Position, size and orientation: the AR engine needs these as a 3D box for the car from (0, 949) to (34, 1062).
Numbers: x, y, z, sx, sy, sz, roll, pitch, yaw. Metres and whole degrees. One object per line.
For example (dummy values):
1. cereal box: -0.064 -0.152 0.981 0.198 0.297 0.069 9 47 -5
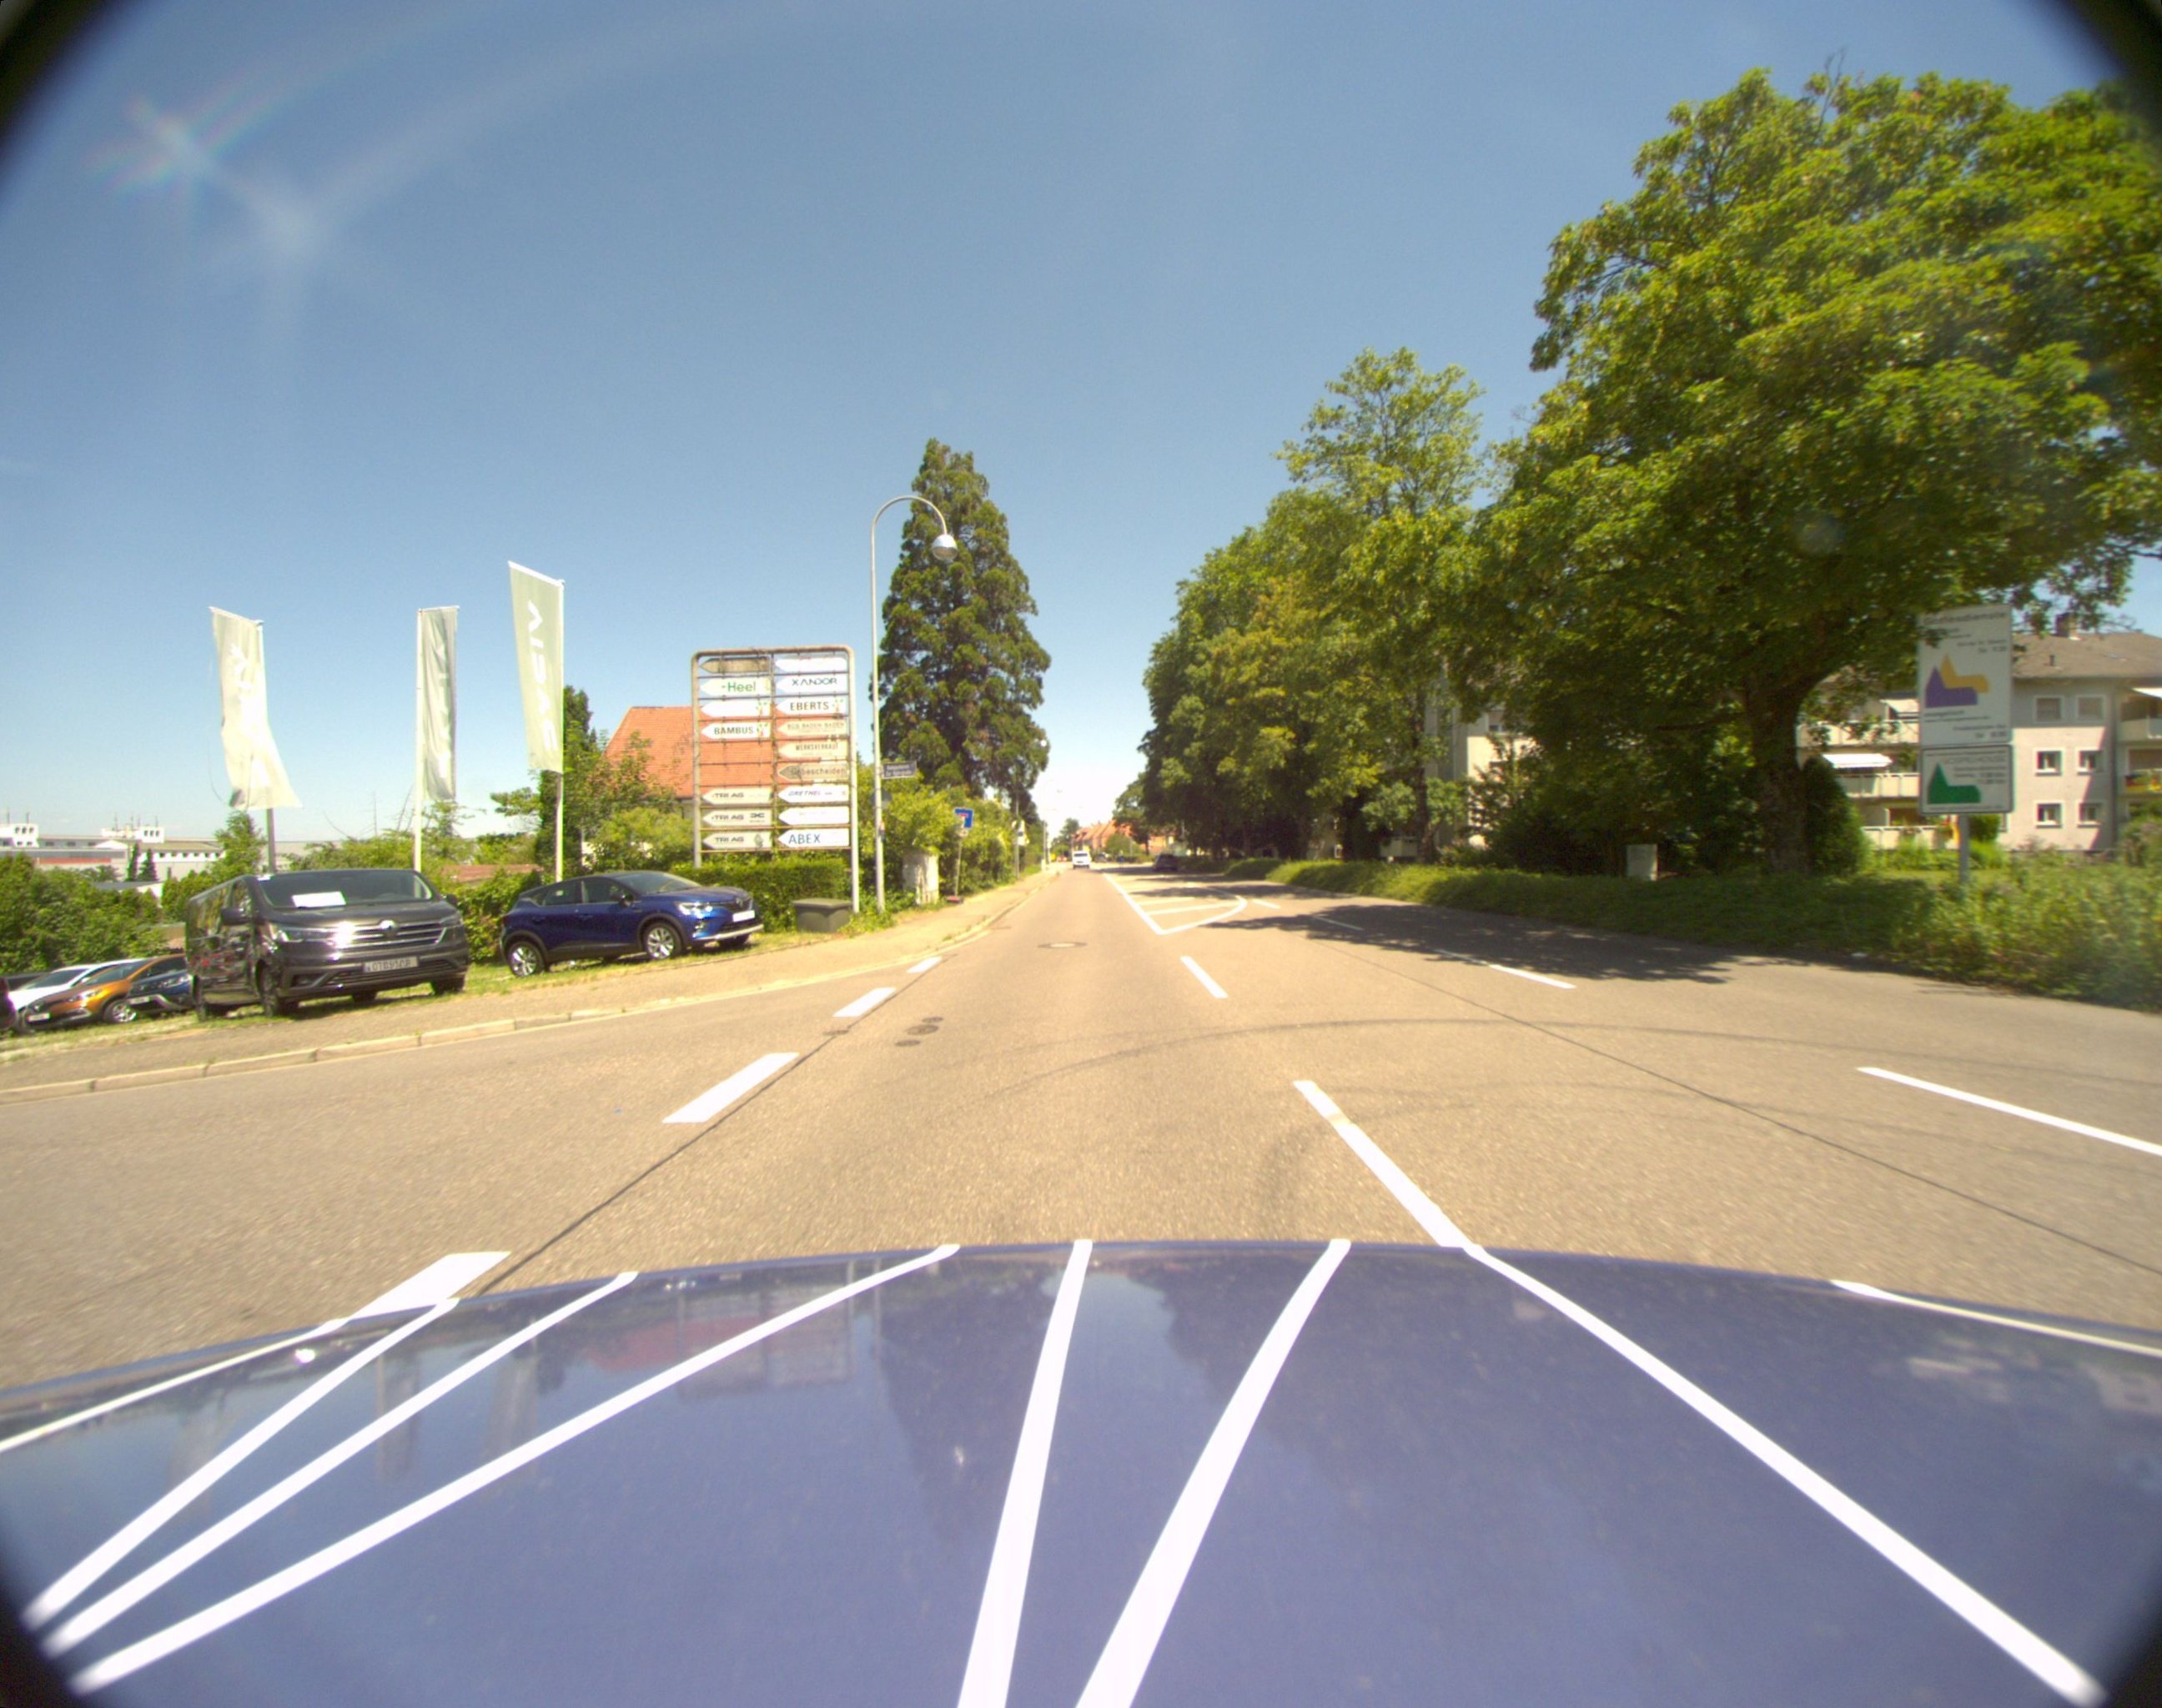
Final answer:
1. car: -17.673 2.417 9.847 1.826 1.648 4.372 -4 1 18

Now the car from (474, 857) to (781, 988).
1. car: -7.467 1.105 12.676 4.075 1.505 1.857 -8 1 13

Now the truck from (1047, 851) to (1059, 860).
1. truck: -7.403 0.421 200.418 2.020 2.295 6.171 -4 0 -11

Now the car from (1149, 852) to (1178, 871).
1. car: 6.668 0.552 61.727 1.726 1.419 4.147 -3 0 -1

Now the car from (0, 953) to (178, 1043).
1. car: -26.347 3.643 19.331 1.874 1.693 4.000 -3 0 1

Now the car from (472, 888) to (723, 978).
1. car: -11.136 1.779 17.786 1.707 1.354 4.544 -8 -1 42

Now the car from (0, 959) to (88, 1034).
1. car: -28.823 3.825 19.300 1.874 1.693 4.000 -3 0 1

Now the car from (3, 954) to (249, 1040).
1. car: -23.613 3.483 19.011 1.739 1.434 3.433 -5 -1 0

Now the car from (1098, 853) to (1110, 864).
1. car: 4.503 0.852 149.986 1.999 1.899 4.988 -2 2 -2

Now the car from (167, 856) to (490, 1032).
1. car: -10.736 1.287 10.714 5.265 1.888 2.001 -7 -1 32

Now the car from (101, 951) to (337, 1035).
1. car: -20.446 3.249 18.254 1.739 1.498 3.435 -5 -4 0

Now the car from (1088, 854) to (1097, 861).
1. car: 2.606 0.883 175.349 1.695 1.451 3.639 -3 0 -3

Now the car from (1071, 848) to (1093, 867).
1. car: 0.112 0.412 86.783 1.999 2.001 4.385 -3 0 -5
